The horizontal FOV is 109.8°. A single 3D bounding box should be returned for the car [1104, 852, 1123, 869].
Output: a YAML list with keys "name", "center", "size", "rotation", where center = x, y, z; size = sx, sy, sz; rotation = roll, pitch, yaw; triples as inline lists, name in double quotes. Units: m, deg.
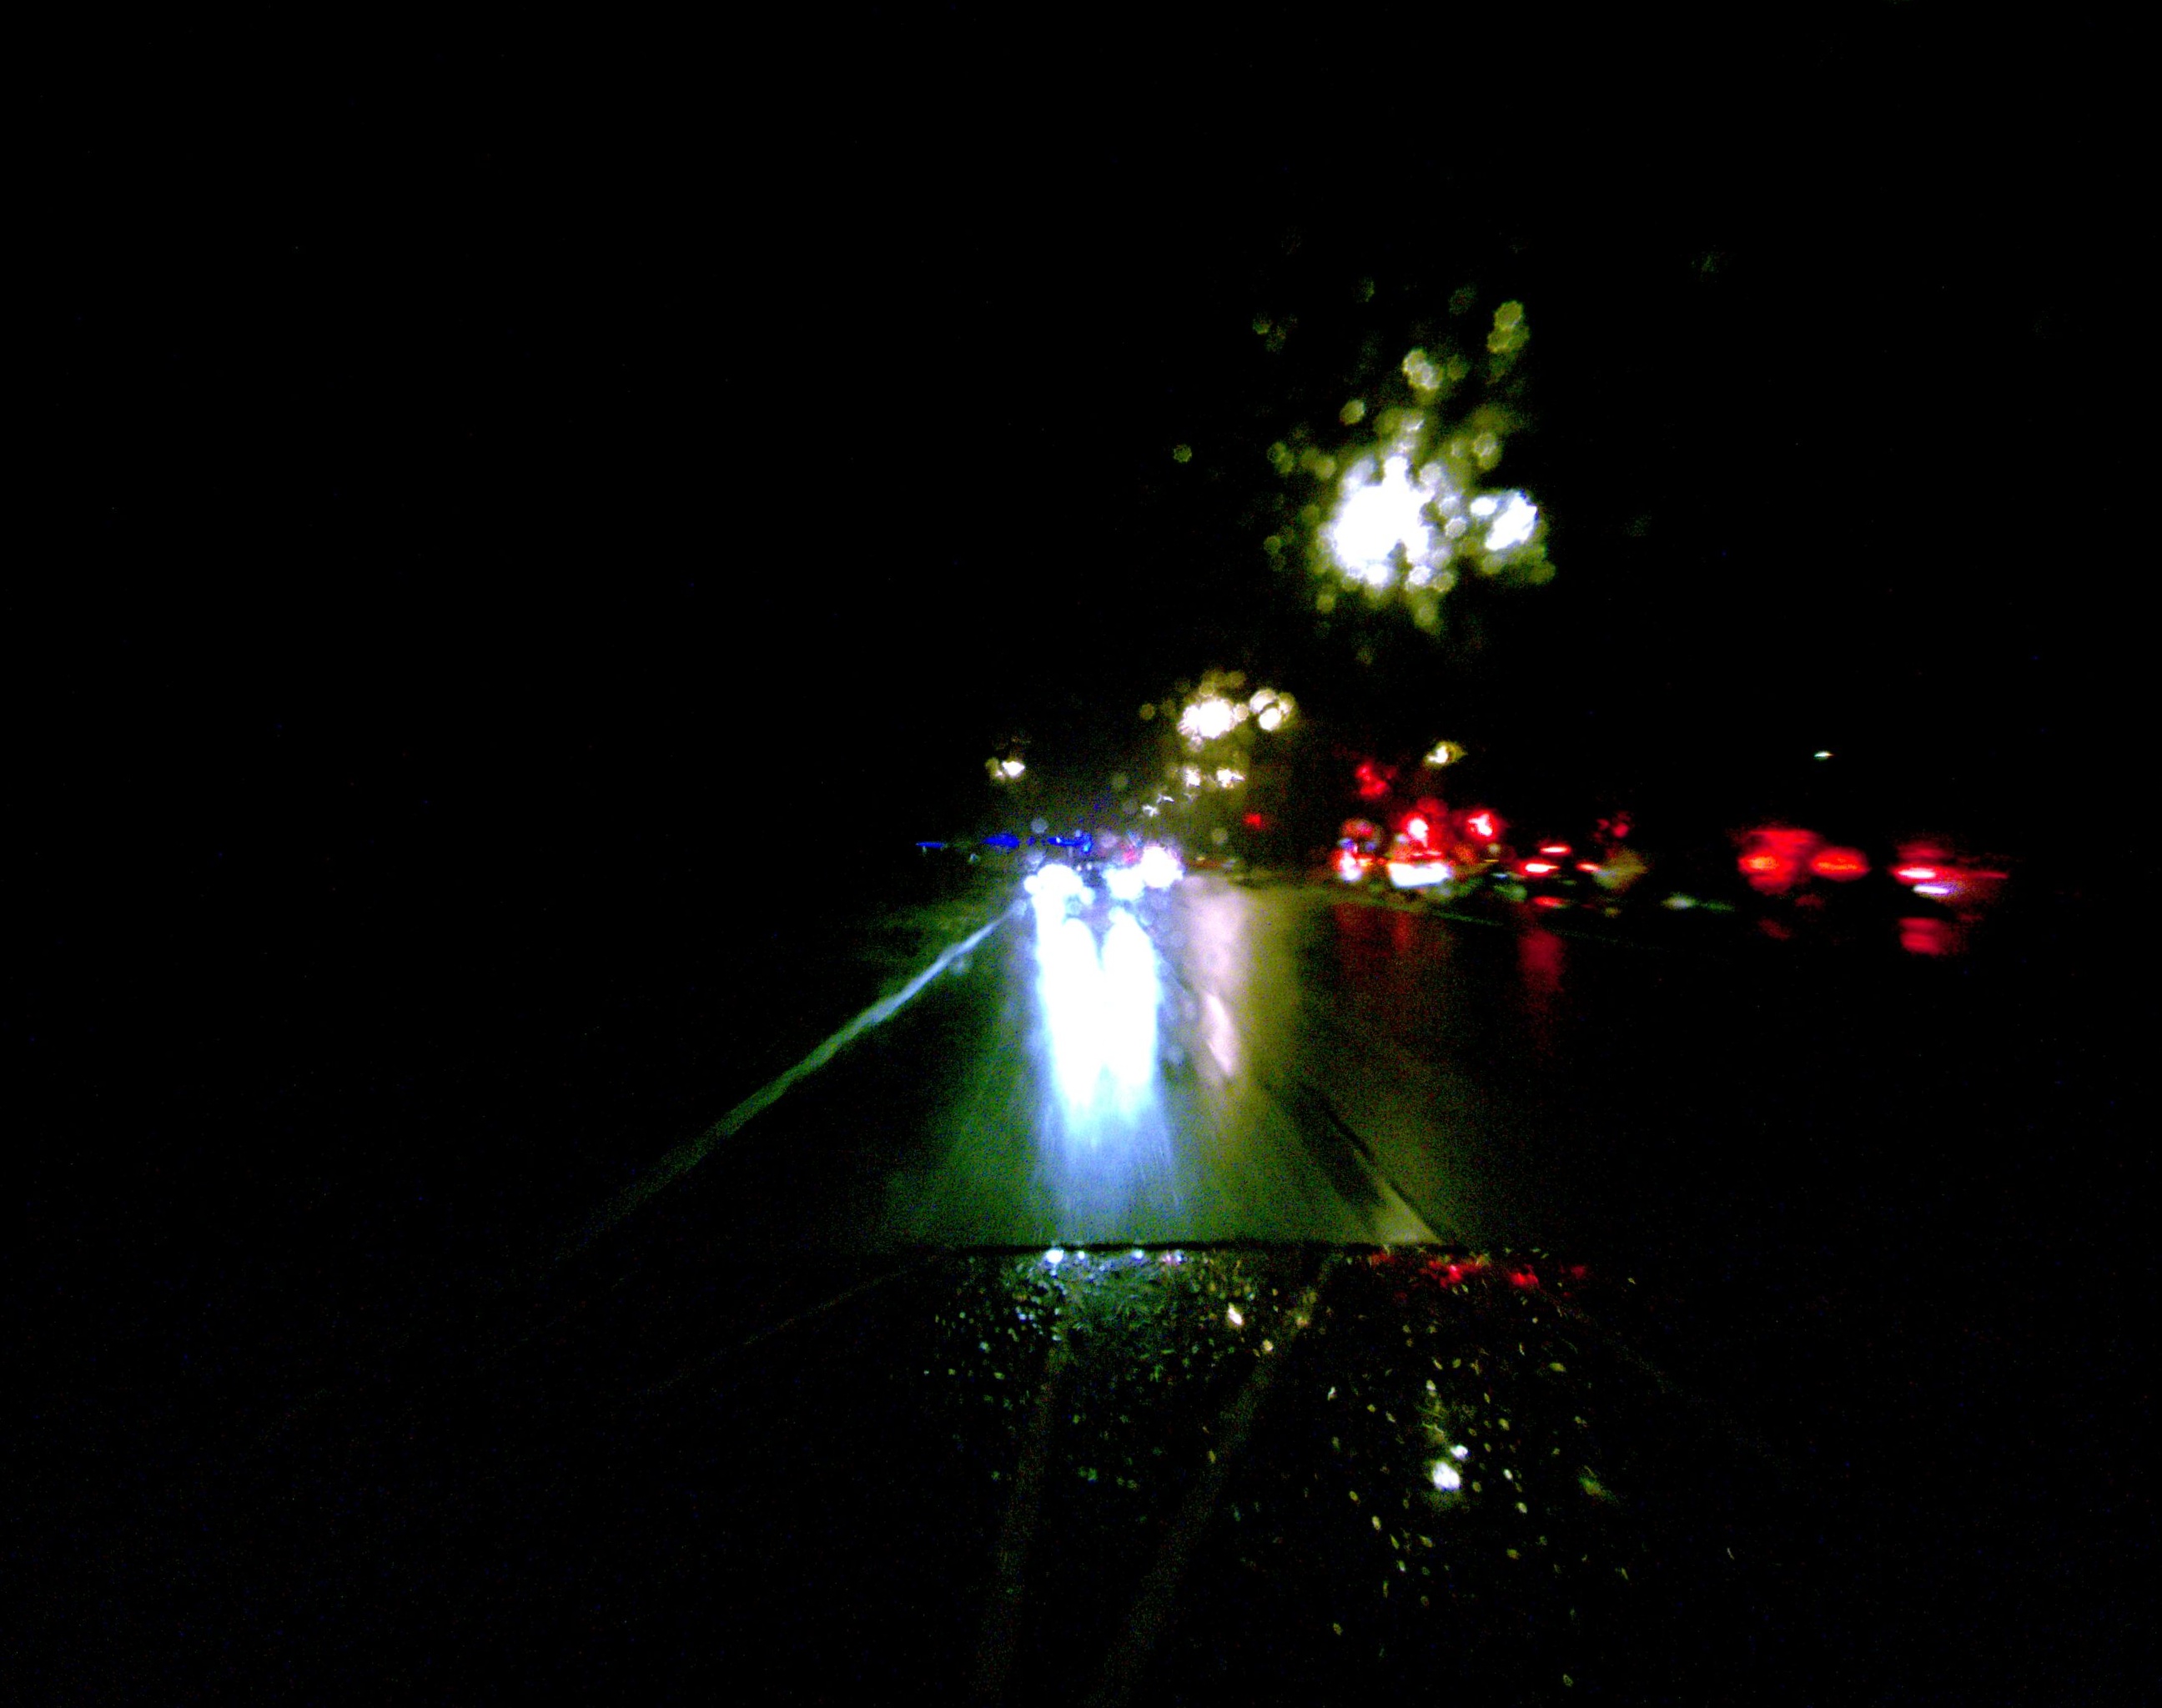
- name: "car"
  center: [3.653, 0.684, 84.234]
  size: [1.957, 1.623, 4.259]
  rotation: [-1, 2, 3]

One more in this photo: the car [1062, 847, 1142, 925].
- name: "car"
  center: [0.575, 0.832, 21.848]
  size: [2.003, 1.914, 4.369]
  rotation: [-3, 0, 1]

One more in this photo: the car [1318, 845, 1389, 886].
- name: "car"
  center: [12.094, 0.485, 33.947]
  size: [1.764, 1.715, 3.901]
  rotation: [-2, 0, 0]

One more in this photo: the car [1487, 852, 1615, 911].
- name: "car"
  center: [15.441, 0.838, 25.228]
  size: [1.803, 1.656, 3.975]
  rotation: [-1, 2, 0]

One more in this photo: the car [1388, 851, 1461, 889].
- name: "car"
  center: [15.259, 0.683, 33.985]
  size: [1.716, 1.479, 4.058]
  rotation: [-1, 2, 4]

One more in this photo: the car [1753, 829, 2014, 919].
- name: "car"
  center: [18.550, 0.364, 17.900]
  size: [1.764, 1.838, 4.123]
  rotation: [-1, 2, 0]

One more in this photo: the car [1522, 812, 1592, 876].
- name: "car"
  center: [22.112, -0.459, 35.521]
  size: [2.250, 2.694, 5.619]
  rotation: [-2, 0, 27]

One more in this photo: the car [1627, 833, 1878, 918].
- name: "car"
  center: [15.130, 0.430, 17.536]
  size: [1.803, 1.656, 4.487]
  rotation: [-2, 0, 0]

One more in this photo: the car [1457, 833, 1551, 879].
- name: "car"
  center: [18.394, 0.094, 33.281]
  size: [1.764, 1.837, 4.285]
  rotation: [-2, 0, 1]

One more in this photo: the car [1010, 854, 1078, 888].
- name: "car"
  center: [-1.943, 0.818, 38.875]
  size: [1.690, 1.524, 3.978]
  rotation: [-5, 2, -31]

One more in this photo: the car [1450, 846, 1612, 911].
- name: "car"
  center: [11.995, 0.598, 20.629]
  size: [1.817, 1.568, 4.305]
  rotation: [0, 0, -1]

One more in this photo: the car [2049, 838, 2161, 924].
- name: "car"
  center: [18.530, 0.465, 11.820]
  size: [1.764, 1.369, 4.038]
  rotation: [-1, 2, 0]

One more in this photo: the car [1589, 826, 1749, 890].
- name: "car"
  center: [18.508, 0.116, 24.205]
  size: [1.803, 1.788, 4.250]
  rotation: [-2, 0, 0]

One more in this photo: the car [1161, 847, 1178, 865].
- name: "car"
  center: [10.779, 0.187, 92.718]
  size: [1.792, 2.013, 4.146]
  rotation: [-1, 2, 3]

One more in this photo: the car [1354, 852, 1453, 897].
- name: "car"
  center: [11.650, 0.703, 27.786]
  size: [1.781, 1.475, 4.412]
  rotation: [-2, 0, 1]

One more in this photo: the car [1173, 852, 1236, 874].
- name: "car"
  center: [8.637, 0.615, 53.512]
  size: [4.171, 1.436, 1.681]
  rotation: [-2, 0, 3]

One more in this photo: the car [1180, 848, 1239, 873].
- name: "car"
  center: [9.665, 0.481, 57.438]
  size: [4.125, 1.696, 1.849]
  rotation: [-2, 0, 3]
